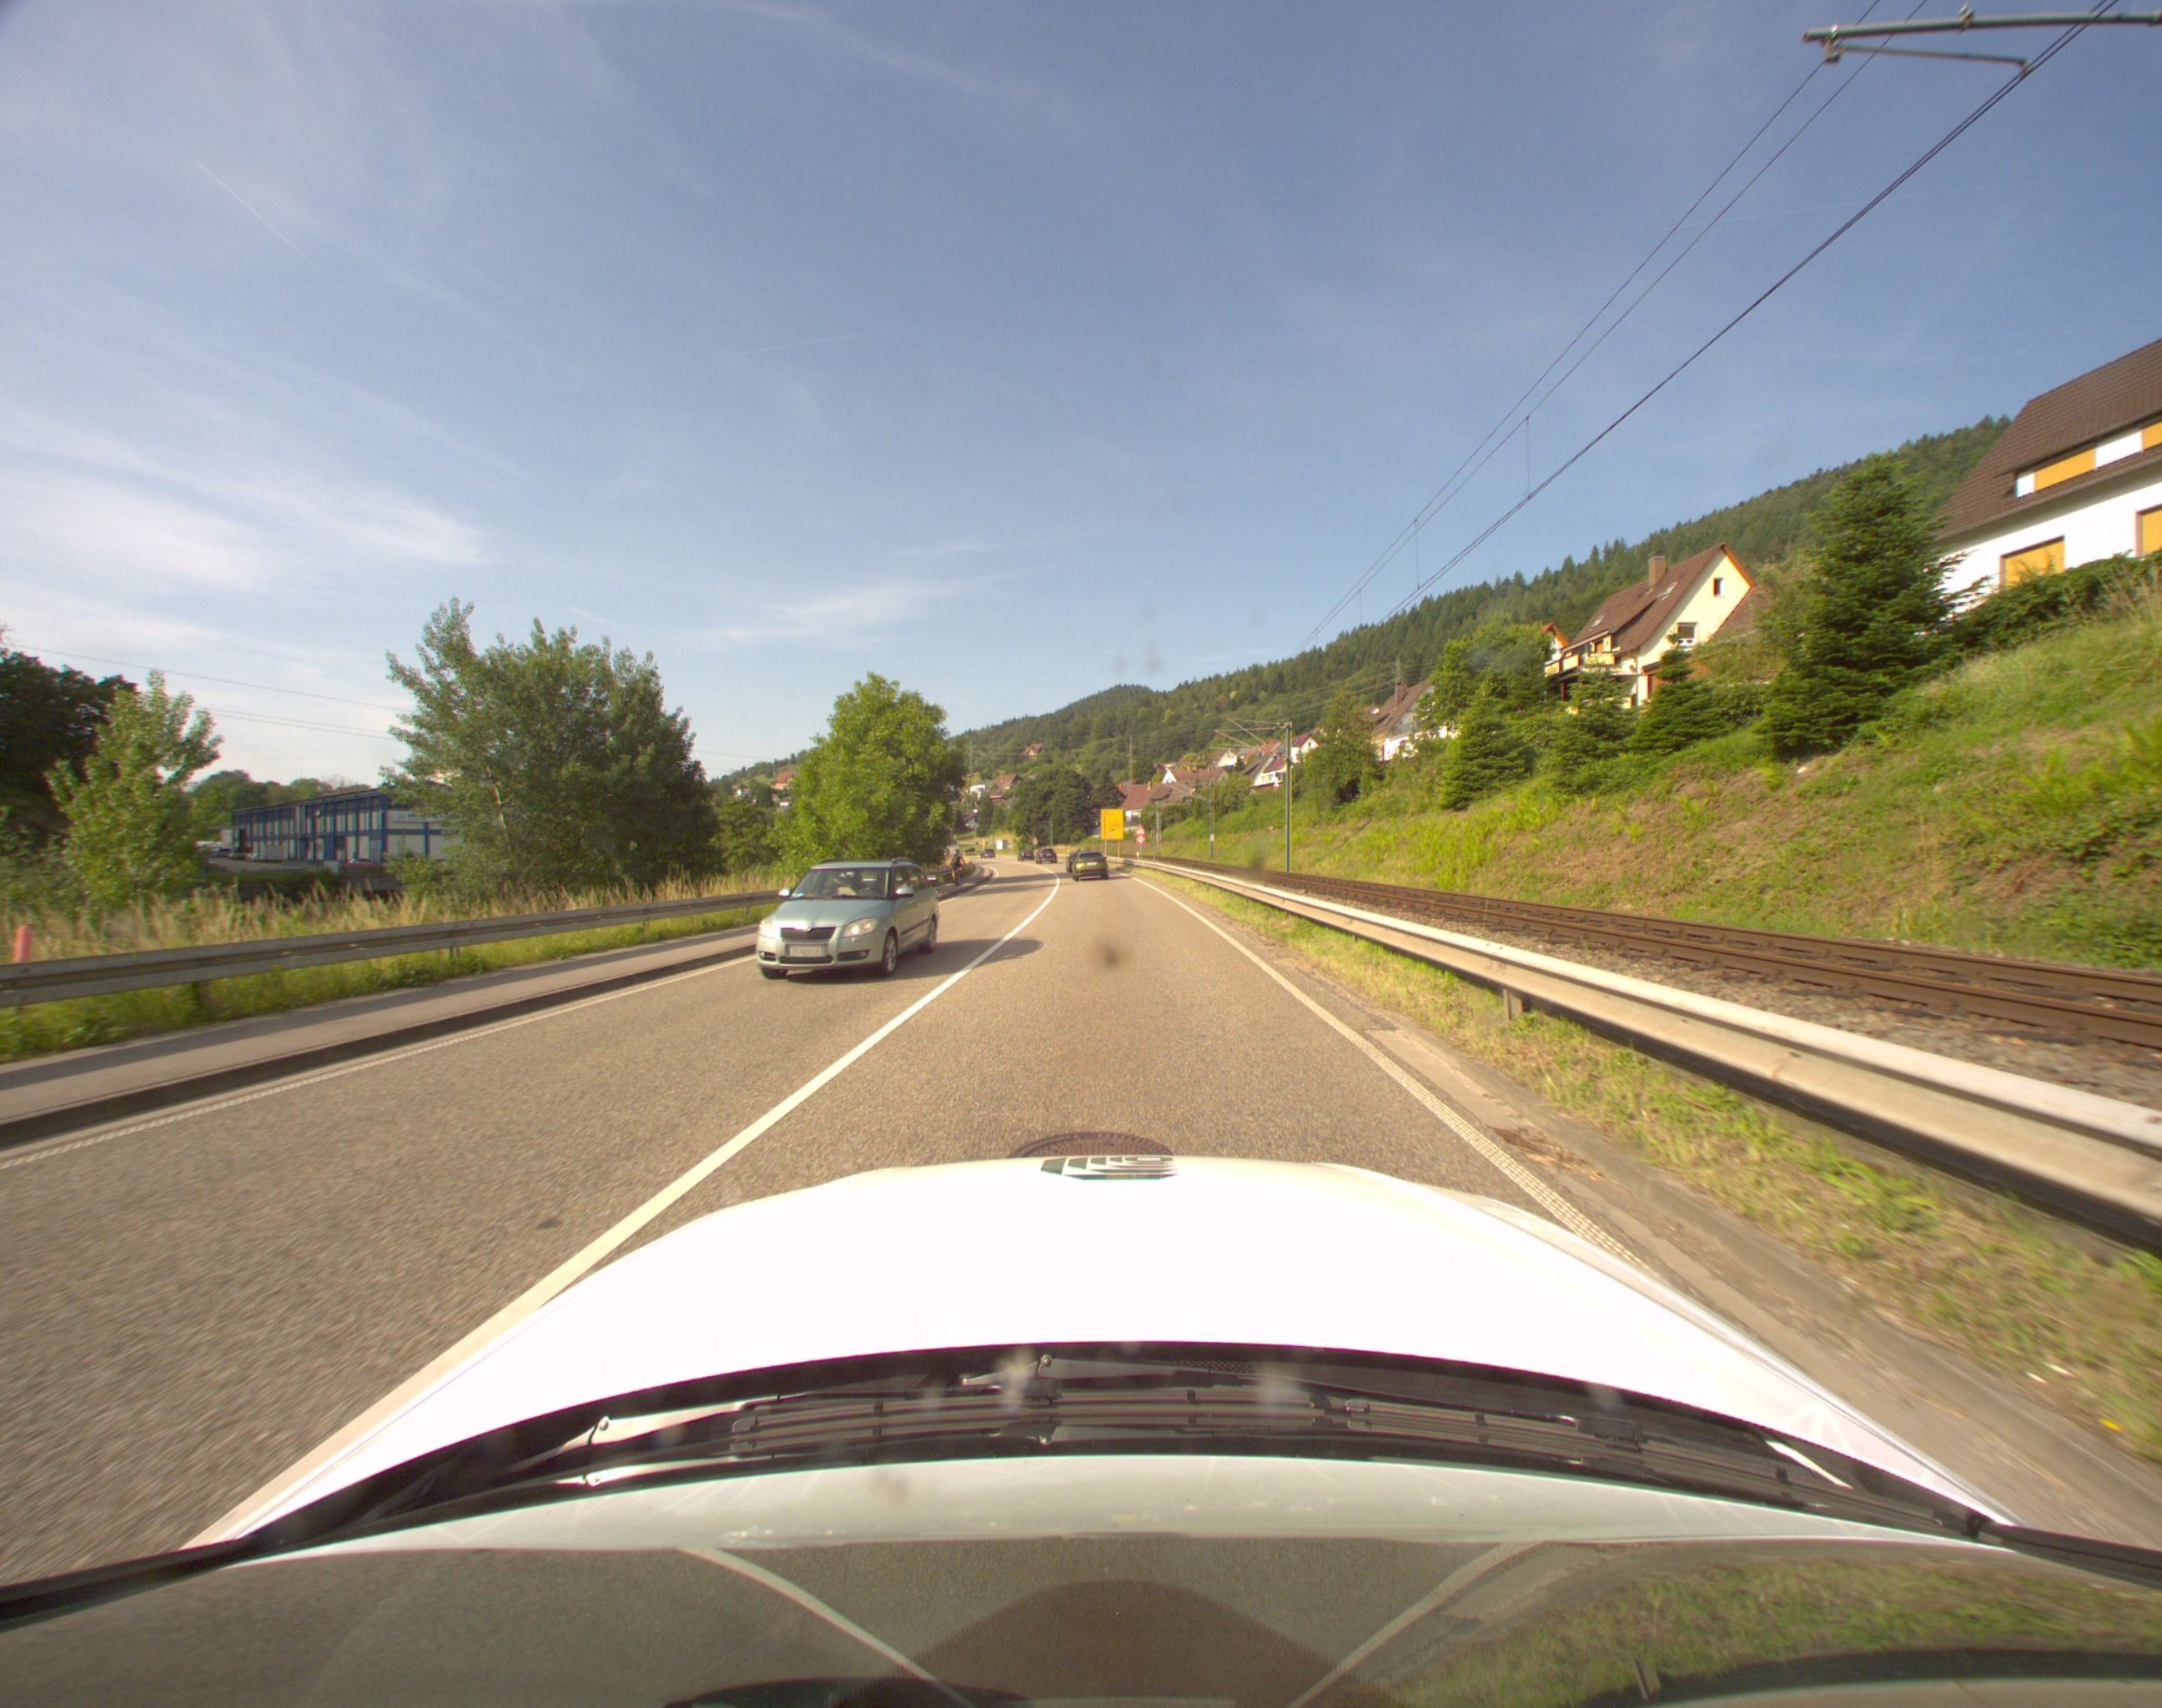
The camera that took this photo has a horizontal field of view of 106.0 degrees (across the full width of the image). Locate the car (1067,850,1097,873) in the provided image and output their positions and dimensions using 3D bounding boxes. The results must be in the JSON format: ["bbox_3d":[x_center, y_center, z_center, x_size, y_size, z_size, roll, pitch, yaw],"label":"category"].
[{"bbox_3d":[0.035,0.491,56.902,1.665,1.559,3.992,-1,0,-6],"label":"car"}]

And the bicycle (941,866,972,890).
[{"bbox_3d":[-6.051,1.154,39.654,0.553,1.045,2.239,2,1,17],"label":"bicycle"}]

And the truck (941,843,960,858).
[{"bbox_3d":[-27.419,-0.862,170.666,2.721,3.083,6.067,0,1,-20],"label":"truck"}]

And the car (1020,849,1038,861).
[{"bbox_3d":[-6.795,0.130,106.597,1.849,1.526,3.649,-3,1,-10],"label":"car"}]

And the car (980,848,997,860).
[{"bbox_3d":[-16.009,0.004,140.986,2.069,1.811,3.976,-3,1,-18],"label":"car"}]

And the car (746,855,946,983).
[{"bbox_3d":[-3.133,0.777,11.685,1.572,1.479,4.001,-1,0,2],"label":"car"}]

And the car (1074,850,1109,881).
[{"bbox_3d":[0.520,0.574,42.126,1.709,1.455,3.999,-2,0,0],"label":"car"}]

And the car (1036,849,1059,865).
[{"bbox_3d":[-3.587,0.323,86.066,1.880,1.686,3.986,1,0,-10],"label":"car"}]

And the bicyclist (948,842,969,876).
[{"bbox_3d":[-5.986,0.235,39.695,0.553,1.586,1.041,2,1,19],"label":"bicyclist"}]
